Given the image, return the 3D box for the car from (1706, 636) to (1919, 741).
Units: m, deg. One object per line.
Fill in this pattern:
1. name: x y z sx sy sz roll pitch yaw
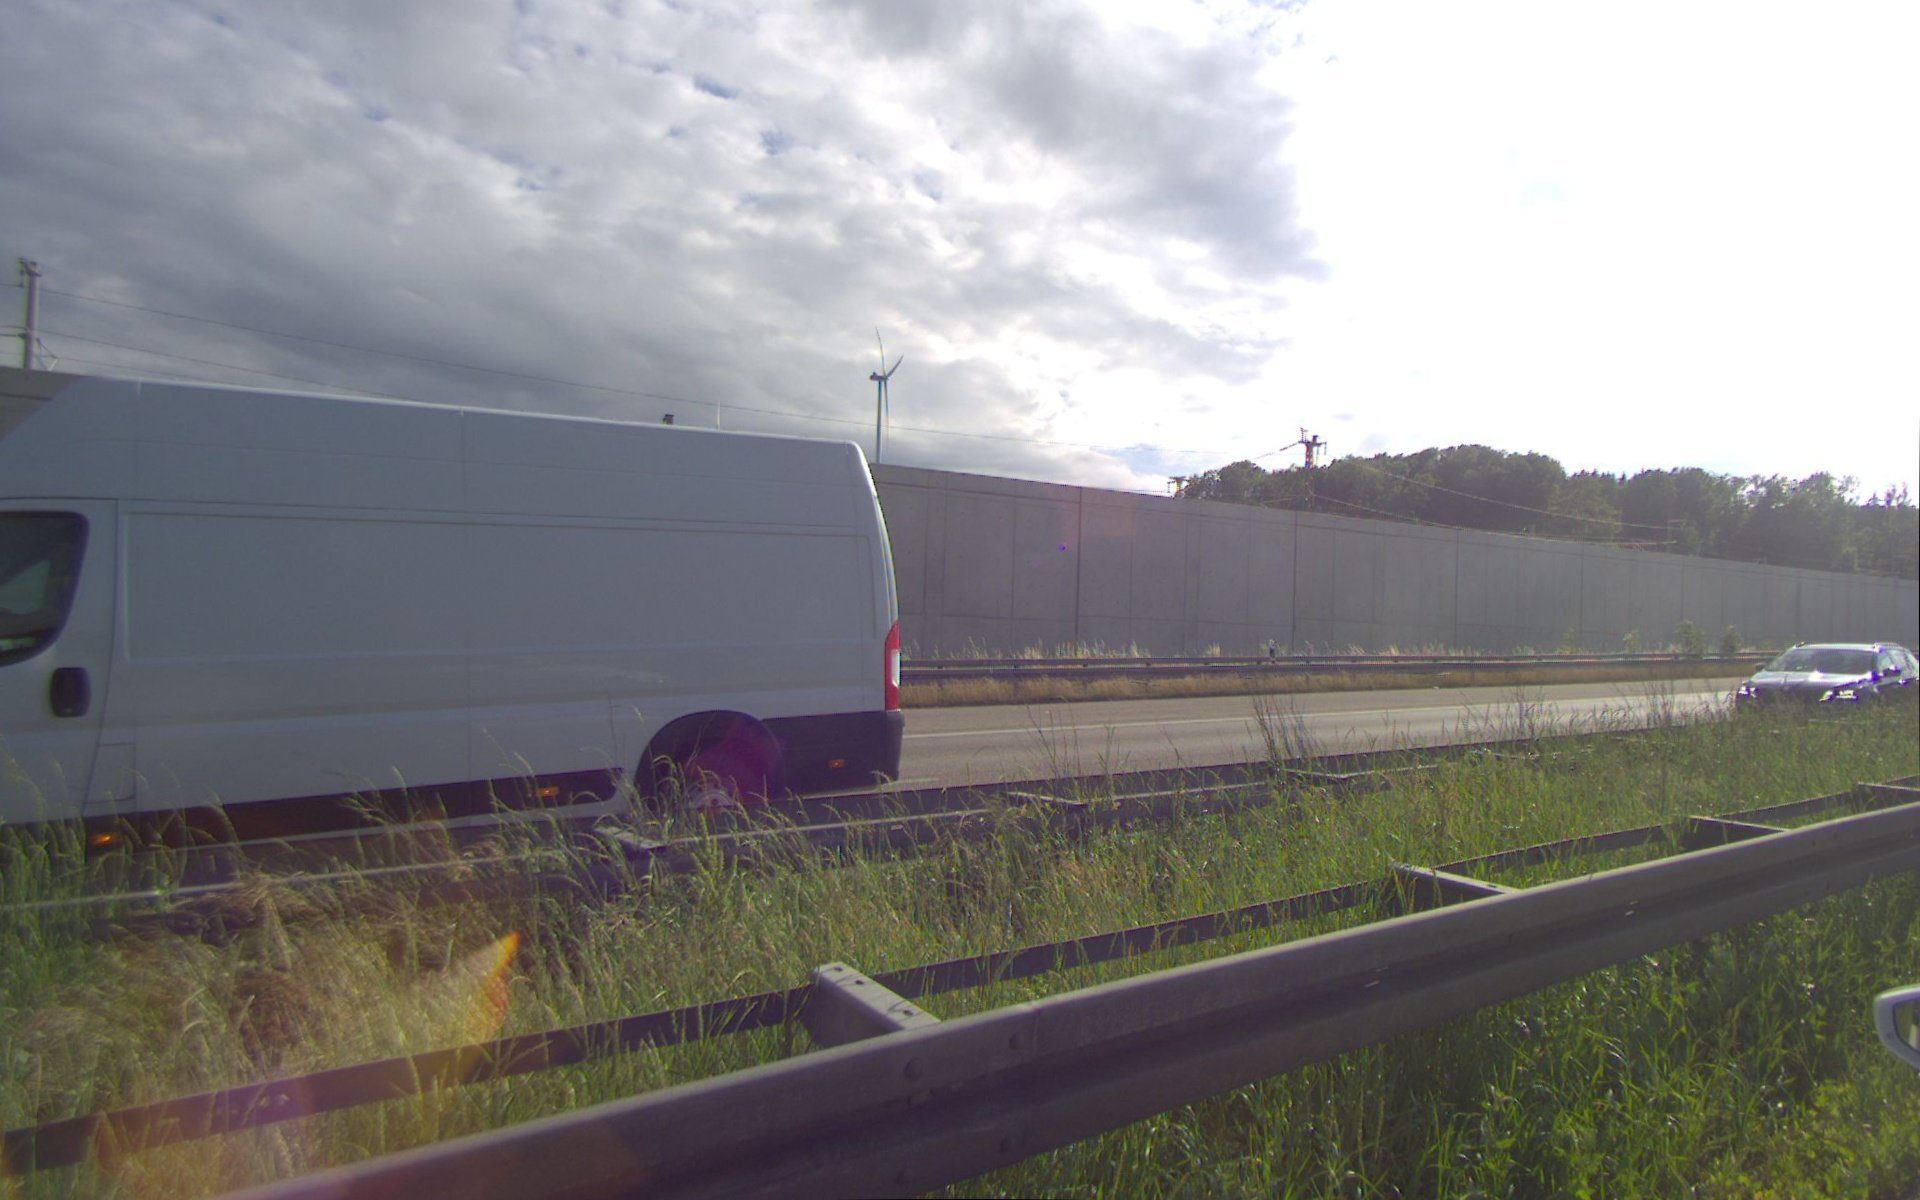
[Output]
1. car: 15.013 1.464 17.316 4.498 1.528 1.834 2 0 -30

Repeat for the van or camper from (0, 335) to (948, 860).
1. van or camper: -3.277 0.035 6.110 6.192 2.234 2.154 2 0 -33
